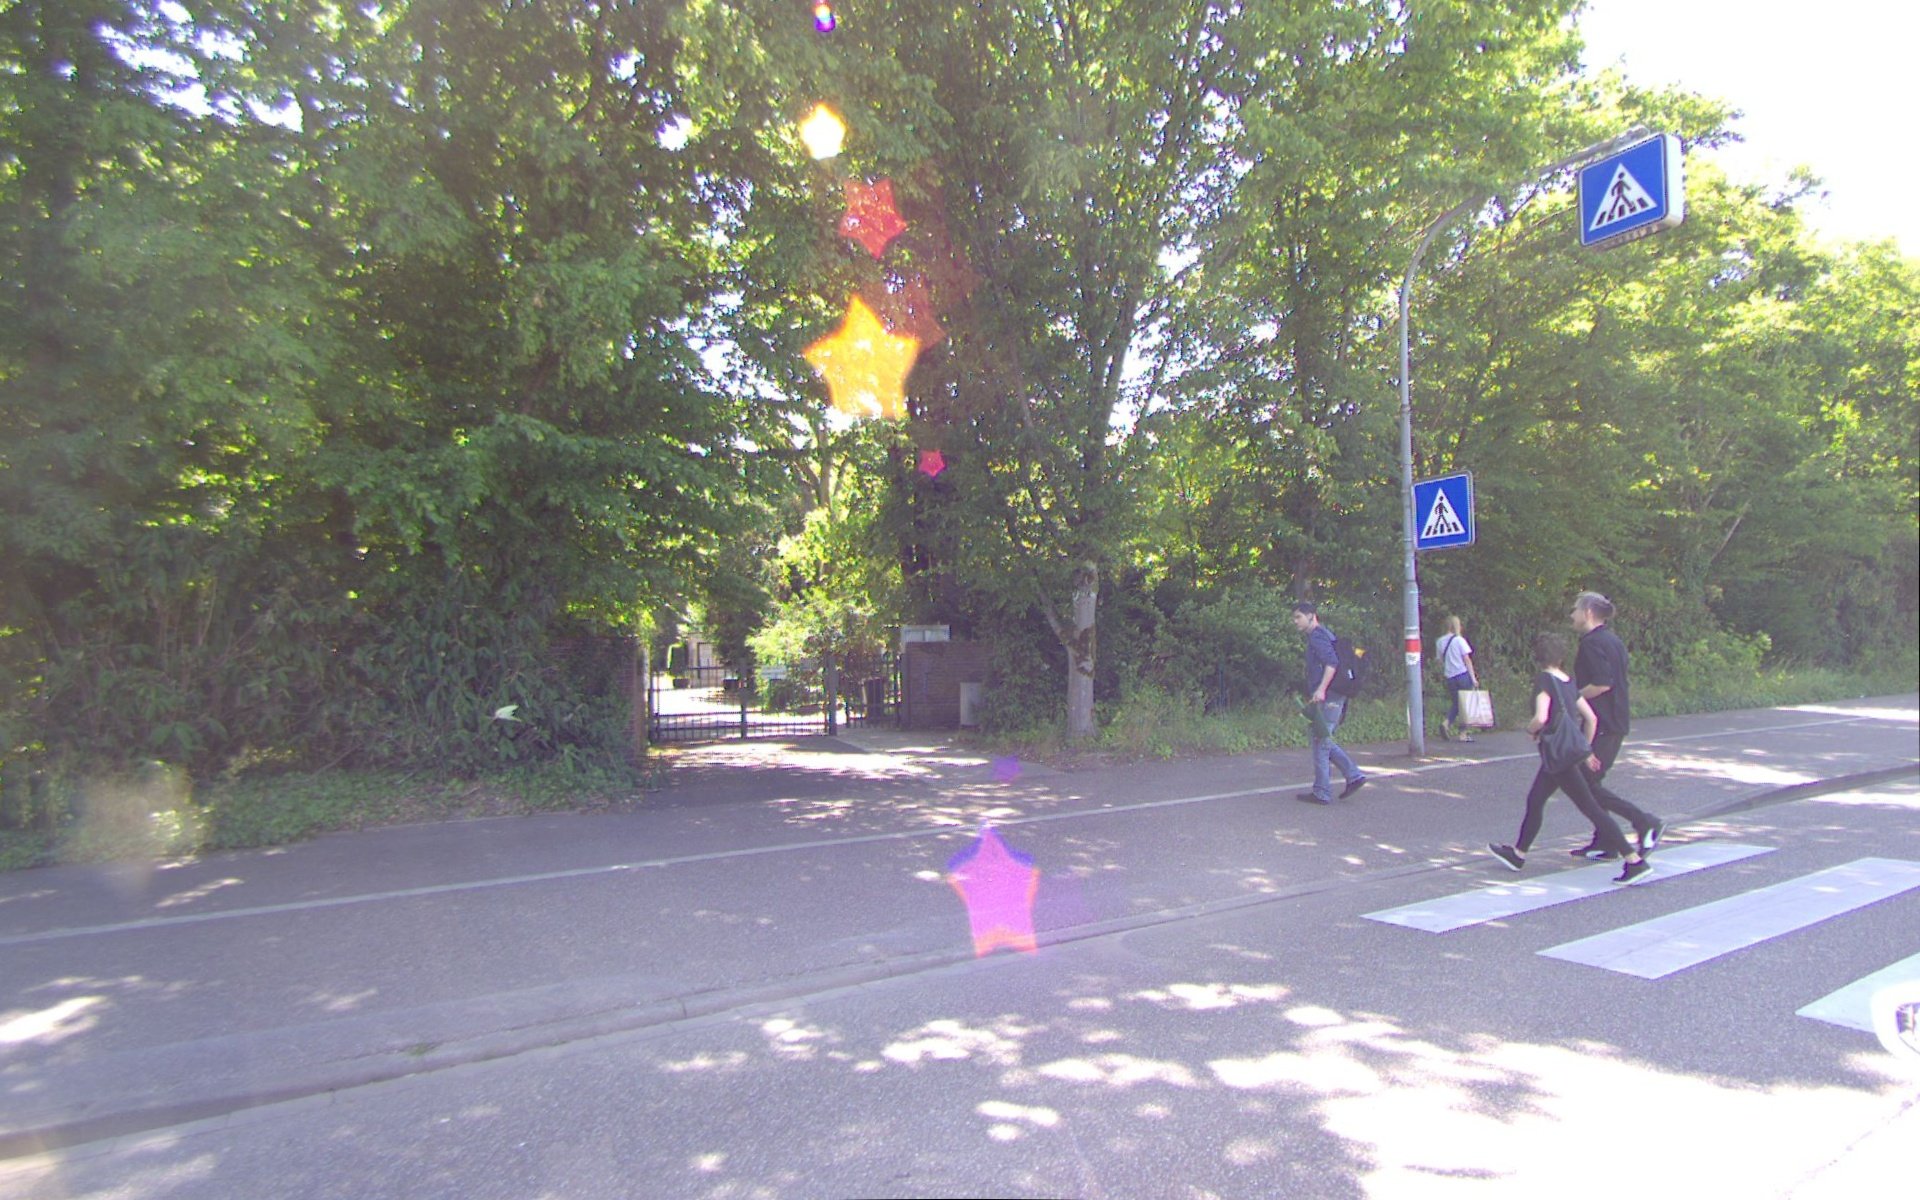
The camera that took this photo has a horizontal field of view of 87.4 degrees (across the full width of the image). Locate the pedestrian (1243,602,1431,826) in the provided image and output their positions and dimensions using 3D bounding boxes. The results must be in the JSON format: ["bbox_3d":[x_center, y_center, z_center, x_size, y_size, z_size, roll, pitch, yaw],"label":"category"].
[{"bbox_3d":[3.309,0.929,8.871,1.012,1.775,1.148,0,2,-33],"label":"pedestrian"}]

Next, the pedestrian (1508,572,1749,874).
[{"bbox_3d":[4.614,0.823,6.978,0.777,1.888,1.075,2,-6,-37],"label":"pedestrian"}]

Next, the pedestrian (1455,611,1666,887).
[{"bbox_3d":[3.912,0.925,6.573,0.774,1.632,0.887,2,-5,-37],"label":"pedestrian"}]

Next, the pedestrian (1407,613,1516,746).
[{"bbox_3d":[6.479,0.990,12.997,0.875,1.634,0.927,0,-1,-31],"label":"pedestrian"}]
